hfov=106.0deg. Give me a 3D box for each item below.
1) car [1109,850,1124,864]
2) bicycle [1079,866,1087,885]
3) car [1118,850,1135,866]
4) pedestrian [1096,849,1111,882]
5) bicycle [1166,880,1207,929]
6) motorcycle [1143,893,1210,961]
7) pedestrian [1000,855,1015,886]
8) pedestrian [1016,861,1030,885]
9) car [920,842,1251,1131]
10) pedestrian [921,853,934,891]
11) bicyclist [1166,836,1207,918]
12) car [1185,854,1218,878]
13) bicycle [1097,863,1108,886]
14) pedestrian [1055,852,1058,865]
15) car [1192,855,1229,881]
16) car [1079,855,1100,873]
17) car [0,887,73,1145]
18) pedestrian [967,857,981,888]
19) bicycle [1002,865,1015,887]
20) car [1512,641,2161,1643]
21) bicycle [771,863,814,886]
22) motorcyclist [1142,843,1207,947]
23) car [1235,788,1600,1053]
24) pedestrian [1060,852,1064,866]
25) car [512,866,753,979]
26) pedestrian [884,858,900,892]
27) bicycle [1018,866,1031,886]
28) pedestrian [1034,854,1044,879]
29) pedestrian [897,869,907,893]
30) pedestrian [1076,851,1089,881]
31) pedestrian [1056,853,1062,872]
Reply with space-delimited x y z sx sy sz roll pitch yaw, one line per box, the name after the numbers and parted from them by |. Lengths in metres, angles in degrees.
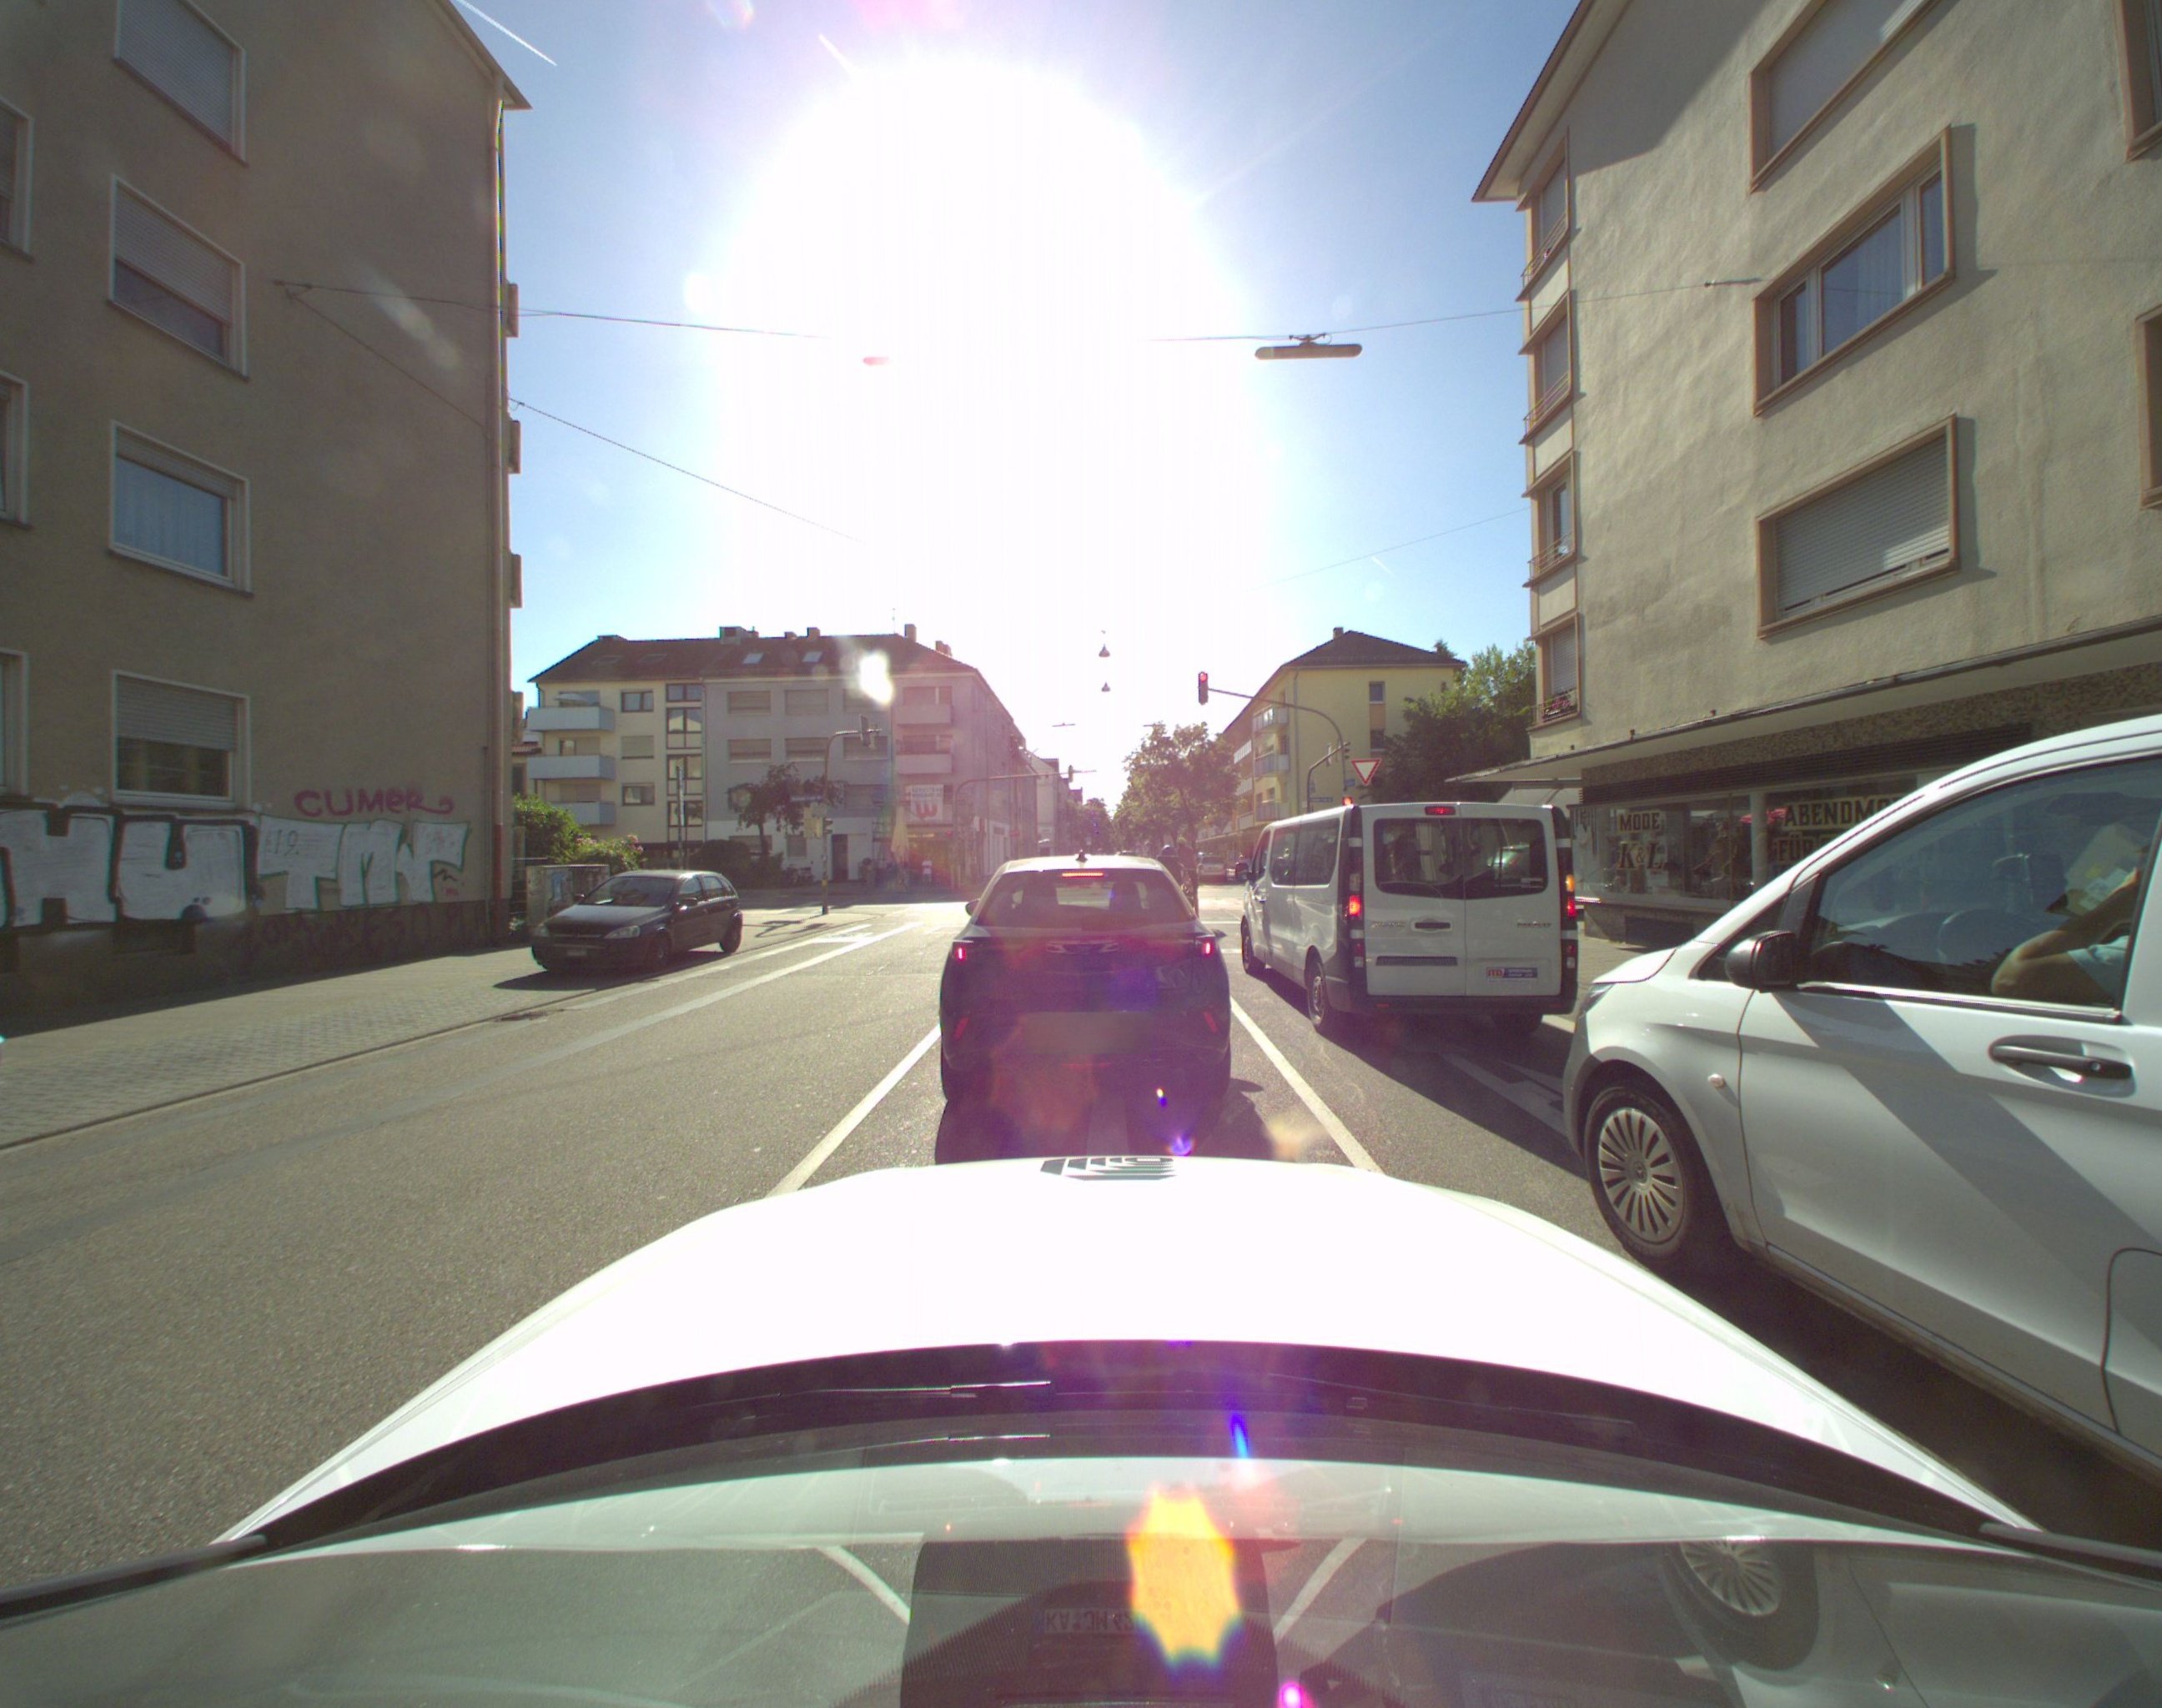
4.459 0.337 102.608 1.894 1.728 4.003 -1 0 2 | car
0.102 1.138 44.022 0.442 0.992 2.068 -1 0 0 | bicycle
5.099 0.471 91.710 1.894 1.728 4.075 -1 0 2 | car
1.140 0.587 41.850 0.704 1.701 0.802 -1 0 0 | pedestrian
2.269 1.064 17.751 0.575 0.904 2.301 -1 0 0 | bicycle
1.408 1.065 12.308 0.822 0.845 1.885 -1 0 1 | motorcycle
-3.943 0.875 43.828 0.704 1.678 0.802 -1 0 0 | pedestrian
-3.117 1.023 43.801 0.704 1.253 0.802 -1 0 0 | pedestrian
0.033 0.713 6.401 1.765 1.530 3.999 -1 0 0 | car
-7.220 0.855 38.362 0.560 1.775 0.582 -1 0 -7 | pedestrian
2.272 0.483 17.678 0.687 1.712 1.414 -1 0 0 | bicyclist
7.645 0.765 51.904 1.628 1.433 4.002 -1 0 2 | car
1.113 1.035 42.003 0.520 1.147 2.170 -1 0 0 | bicycle
-3.073 0.589 101.800 0.400 1.675 0.418 -1 0 1 | pedestrian
7.465 0.764 47.205 1.628 1.433 3.958 -1 0 2 | car
0.885 0.967 80.953 1.817 1.728 4.004 -1 0 3 | car
-7.121 0.927 2.589 1.711 1.465 4.817 1 0 2 | car
-5.362 0.923 40.912 0.615 1.521 0.724 -1 0 -1 | pedestrian
-3.921 1.166 44.191 0.520 1.147 2.283 -1 0 0 | bicycle
2.924 0.526 1.253 1.831 1.869 4.995 -1 0 -1 | car
-15.337 1.067 43.254 2.103 1.172 0.735 -1 0 -22 | bicycle
1.406 0.603 12.469 0.861 1.502 1.160 -1 0 1 | motorcyclist
2.978 0.493 8.552 1.986 1.979 4.898 0 0 2 | car
-2.362 0.591 101.533 0.400 1.675 0.418 -1 0 1 | pedestrian
-6.772 0.948 12.786 1.610 1.425 3.711 1 0 1 | car
-8.763 0.973 37.784 0.582 1.521 0.649 -1 0 -1 | pedestrian
-3.075 1.180 44.179 0.520 0.992 2.339 -1 0 0 | bicycle
-2.889 0.834 56.018 0.568 1.690 0.588 -1 0 1 | pedestrian
-8.279 1.248 37.750 0.354 1.092 0.461 -1 0 -1 | pedestrian
0.076 0.634 43.854 0.678 1.606 0.762 -1 0 0 | pedestrian
-2.007 0.761 73.955 0.486 1.690 0.588 -1 0 1 | pedestrian
